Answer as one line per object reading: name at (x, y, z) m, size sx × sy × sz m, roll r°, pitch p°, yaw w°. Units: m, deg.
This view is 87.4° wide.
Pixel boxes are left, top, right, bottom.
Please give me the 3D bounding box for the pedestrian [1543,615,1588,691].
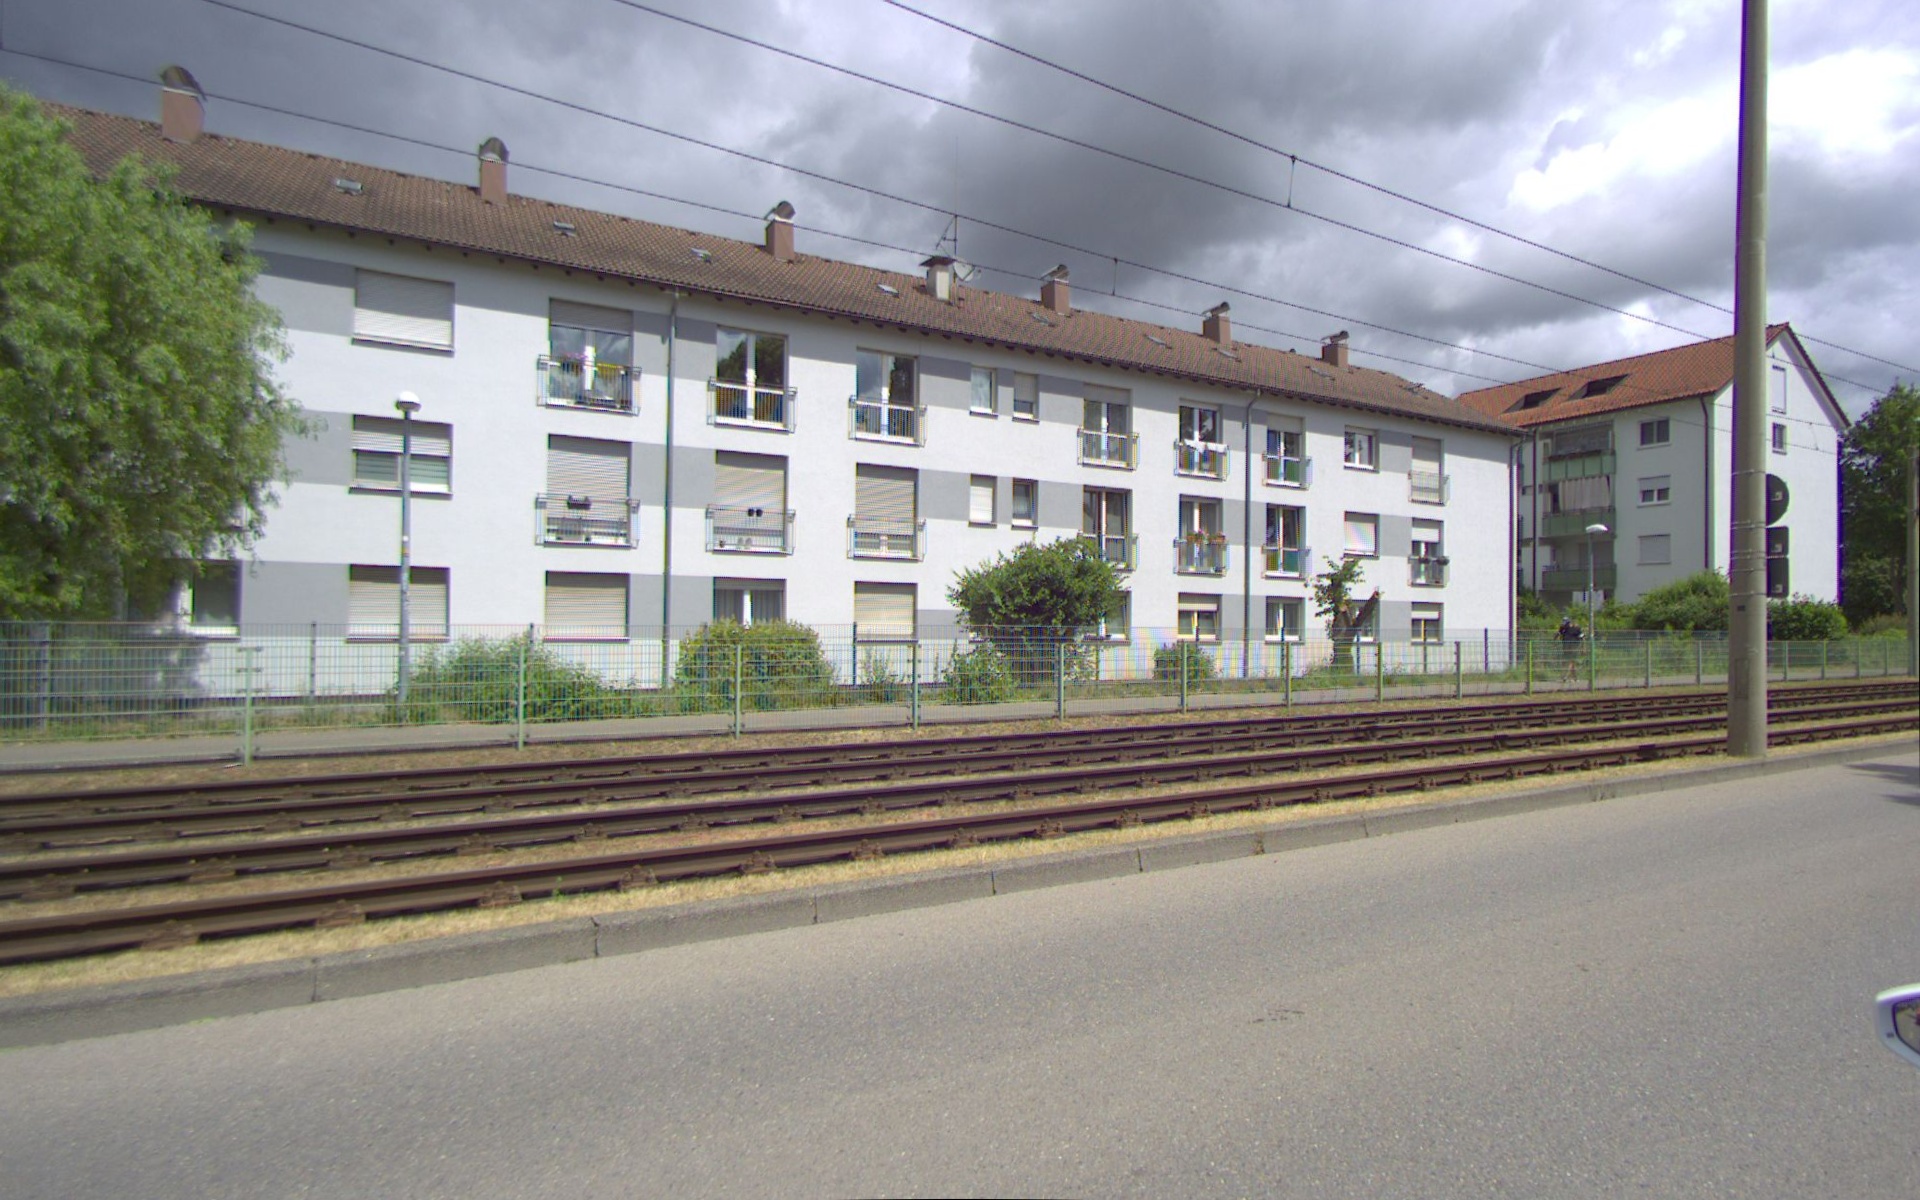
pedestrian at (15.252, 1.332, 25.315) m, size 0.759 × 1.873 × 0.656 m, roll 1°, pitch -2°, yaw -30°
